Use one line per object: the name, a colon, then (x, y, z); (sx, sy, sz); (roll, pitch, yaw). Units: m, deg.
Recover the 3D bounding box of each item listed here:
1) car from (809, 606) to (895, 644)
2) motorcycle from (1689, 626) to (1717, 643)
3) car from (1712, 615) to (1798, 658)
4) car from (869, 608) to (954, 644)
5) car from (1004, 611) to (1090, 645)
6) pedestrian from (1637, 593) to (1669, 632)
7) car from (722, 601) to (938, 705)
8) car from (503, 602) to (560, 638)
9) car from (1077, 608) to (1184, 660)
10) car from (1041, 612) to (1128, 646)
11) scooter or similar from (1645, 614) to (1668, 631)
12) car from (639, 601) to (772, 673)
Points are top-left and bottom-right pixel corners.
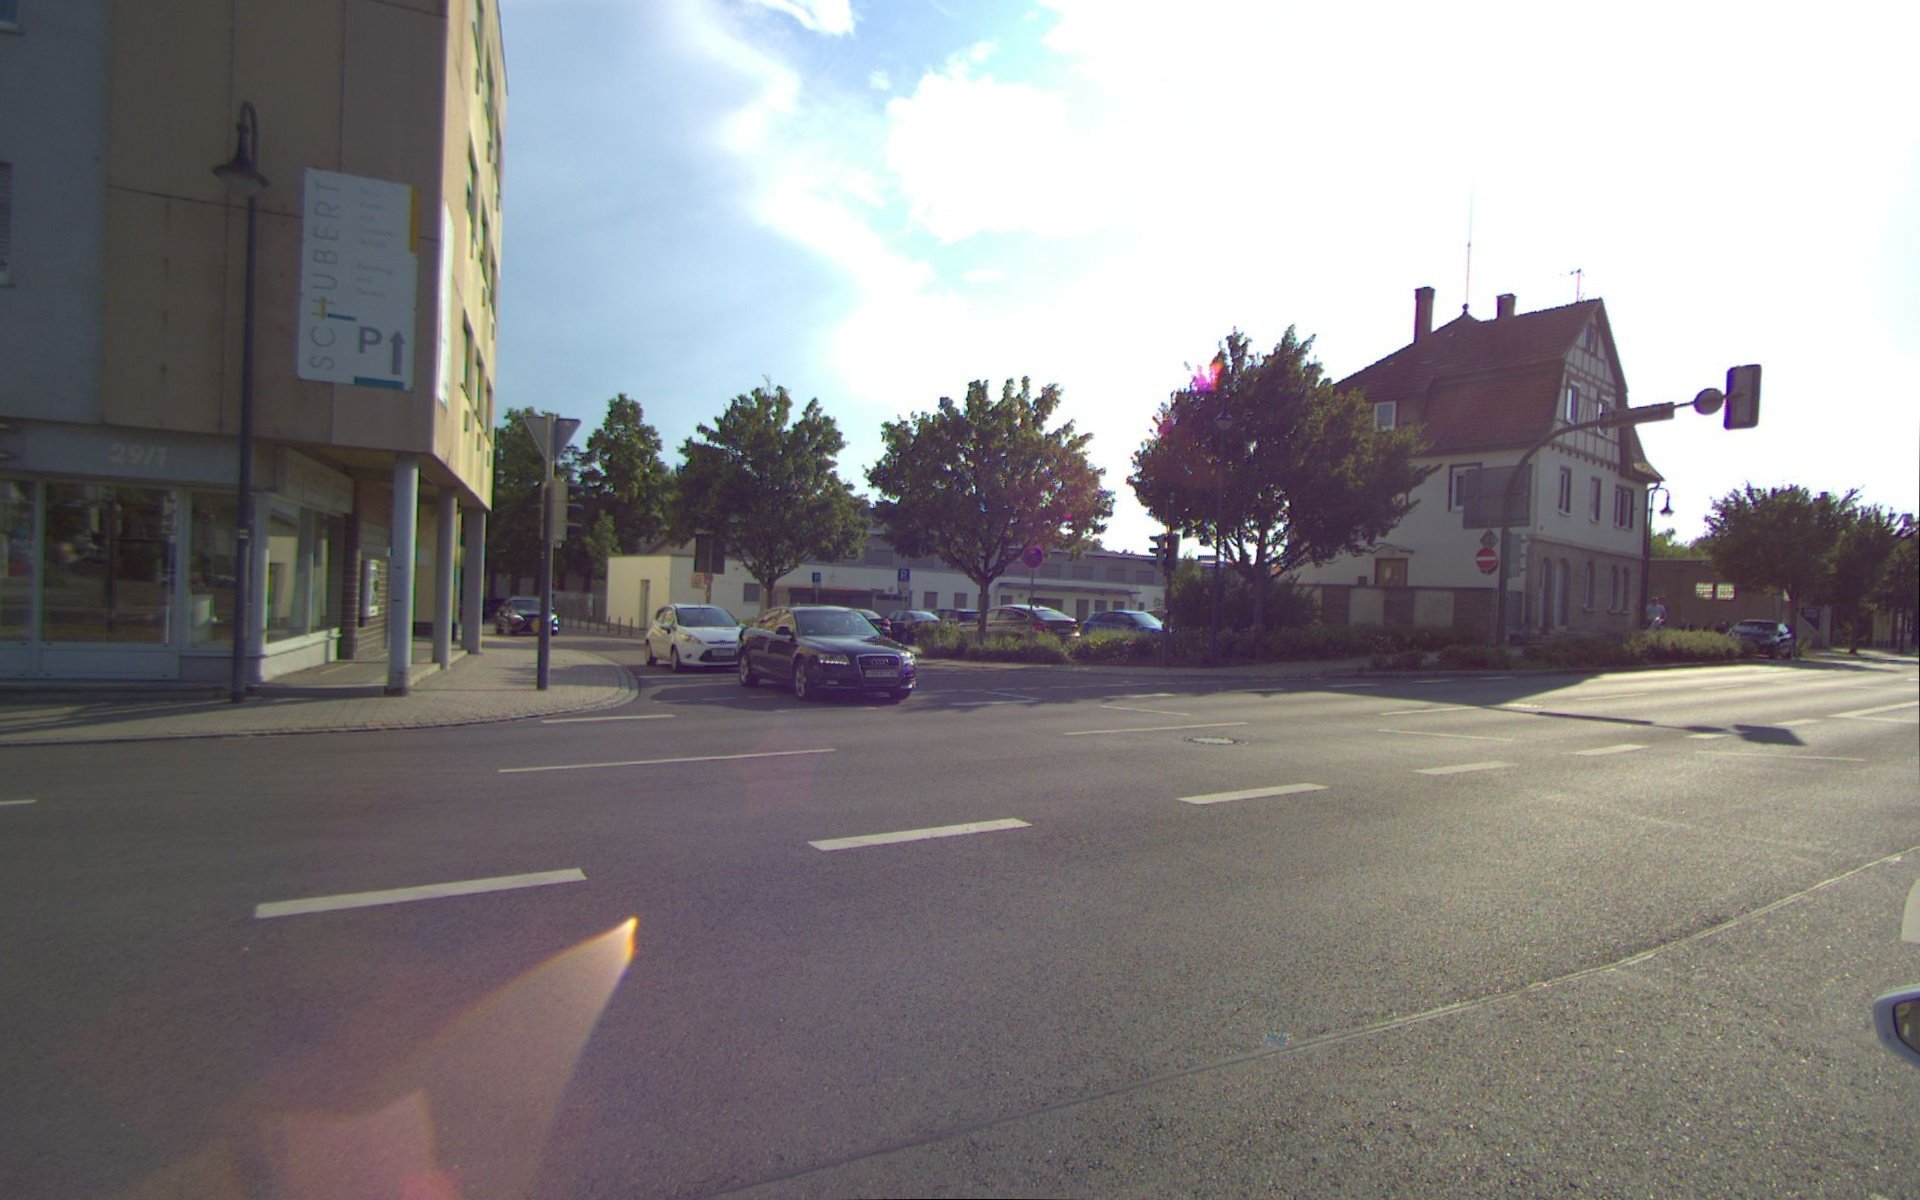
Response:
car: (-4.358, 0.993, 40.174); (1.734, 1.418, 3.615); (2, -1, -40)
motorcycle: (46.496, 2.162, 62.864); (1.514, 1.018, 0.516); (1, 0, -8)
car: (32.305, 1.468, 40.778); (4.096, 1.473, 1.742); (2, 4, -38)
car: (-2.065, 1.079, 41.842); (1.734, 1.418, 3.615); (2, -1, -40)
car: (3.777, 1.203, 43.974); (1.734, 1.418, 3.615); (2, -1, -40)
pedestrian: (25.952, 0.468, 37.626); (0.701, 1.413, 0.806); (1, 0, -39)
car: (-2.340, 0.781, 16.717); (1.894, 1.455, 4.836); (1, -1, -29)
car: (-18.274, 0.817, 42.751); (1.728, 1.456, 3.562); (1, -1, -31)
car: (5.774, 1.131, 34.277); (1.734, 1.661, 3.259); (2, -1, -40)
car: (5.596, 1.295, 45.597); (1.732, 1.418, 3.890); (2, -1, -37)
scooter or similar: (25.458, 0.826, 36.724); (1.035, 0.590, 0.440); (1, 0, -40)
car: (-5.763, 0.777, 22.447); (1.846, 1.455, 3.793); (1, -1, -31)
